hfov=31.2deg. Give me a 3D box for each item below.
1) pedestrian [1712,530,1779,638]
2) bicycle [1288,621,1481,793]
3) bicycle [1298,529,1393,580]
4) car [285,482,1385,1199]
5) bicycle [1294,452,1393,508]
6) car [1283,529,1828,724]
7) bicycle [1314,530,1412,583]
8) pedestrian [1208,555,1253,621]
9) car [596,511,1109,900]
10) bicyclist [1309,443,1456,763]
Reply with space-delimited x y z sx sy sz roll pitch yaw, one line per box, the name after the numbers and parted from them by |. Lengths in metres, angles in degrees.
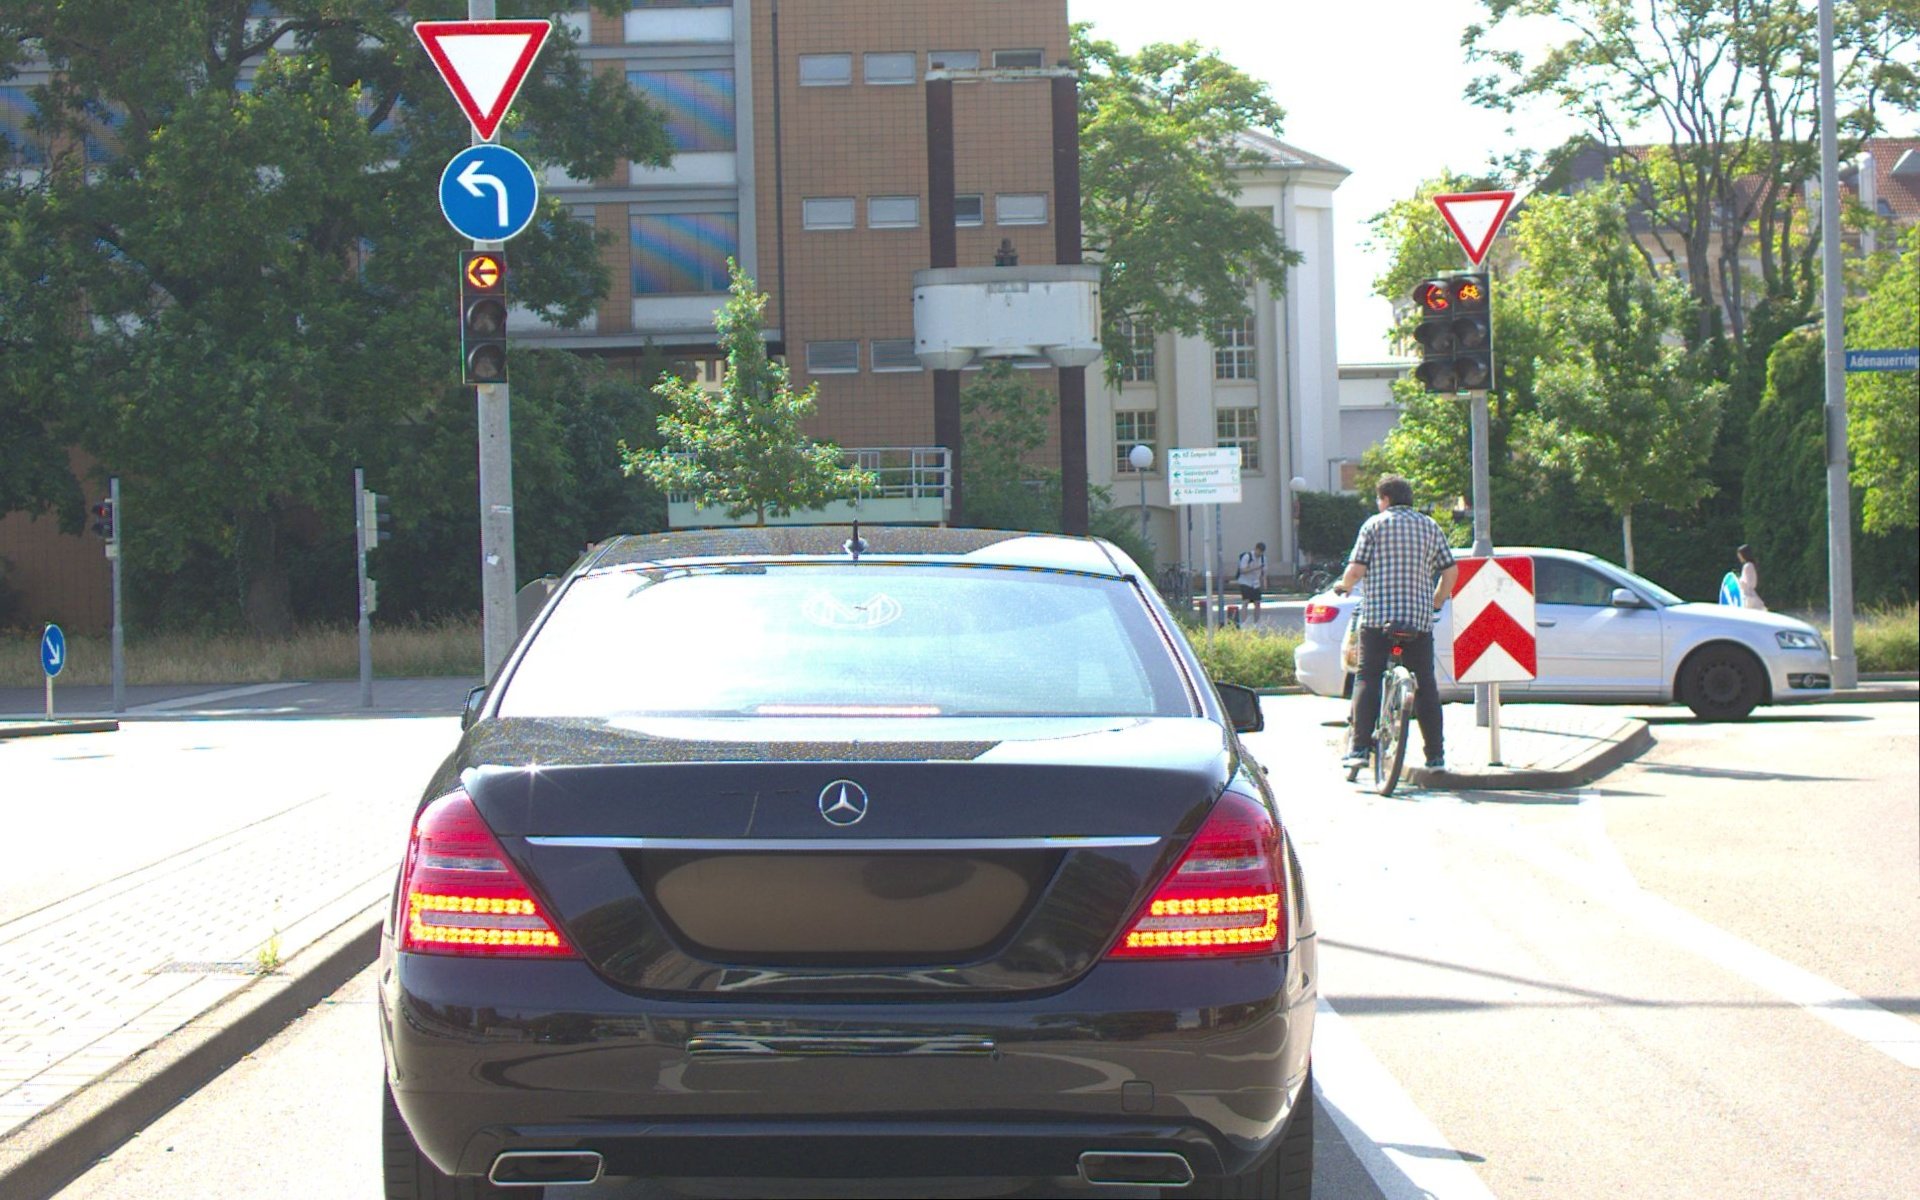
11.756 -0.241 51.447 0.811 1.574 0.692 -2 0 2 | pedestrian
2.519 0.619 20.628 0.692 0.943 1.959 1 1 -7 | bicycle
11.927 -1.403 106.452 2.823 1.475 0.841 -2 1 0 | bicycle
-0.344 0.547 8.190 1.858 1.525 4.714 0 1 -3 | car
11.413 -3.565 102.372 2.823 1.553 0.842 -2 1 -1 | bicycle
4.787 0.206 27.665 4.160 1.415 1.584 -2 1 12 | car
12.260 -1.325 104.545 2.823 1.495 0.842 -2 1 -1 | bicycle
5.017 -0.224 63.732 0.793 1.209 0.757 1 0 6 | pedestrian
-0.446 0.396 15.506 1.993 1.503 4.000 1 1 -1 | car
2.524 0.011 20.591 0.685 1.872 0.860 0 0 -7 | bicyclist
